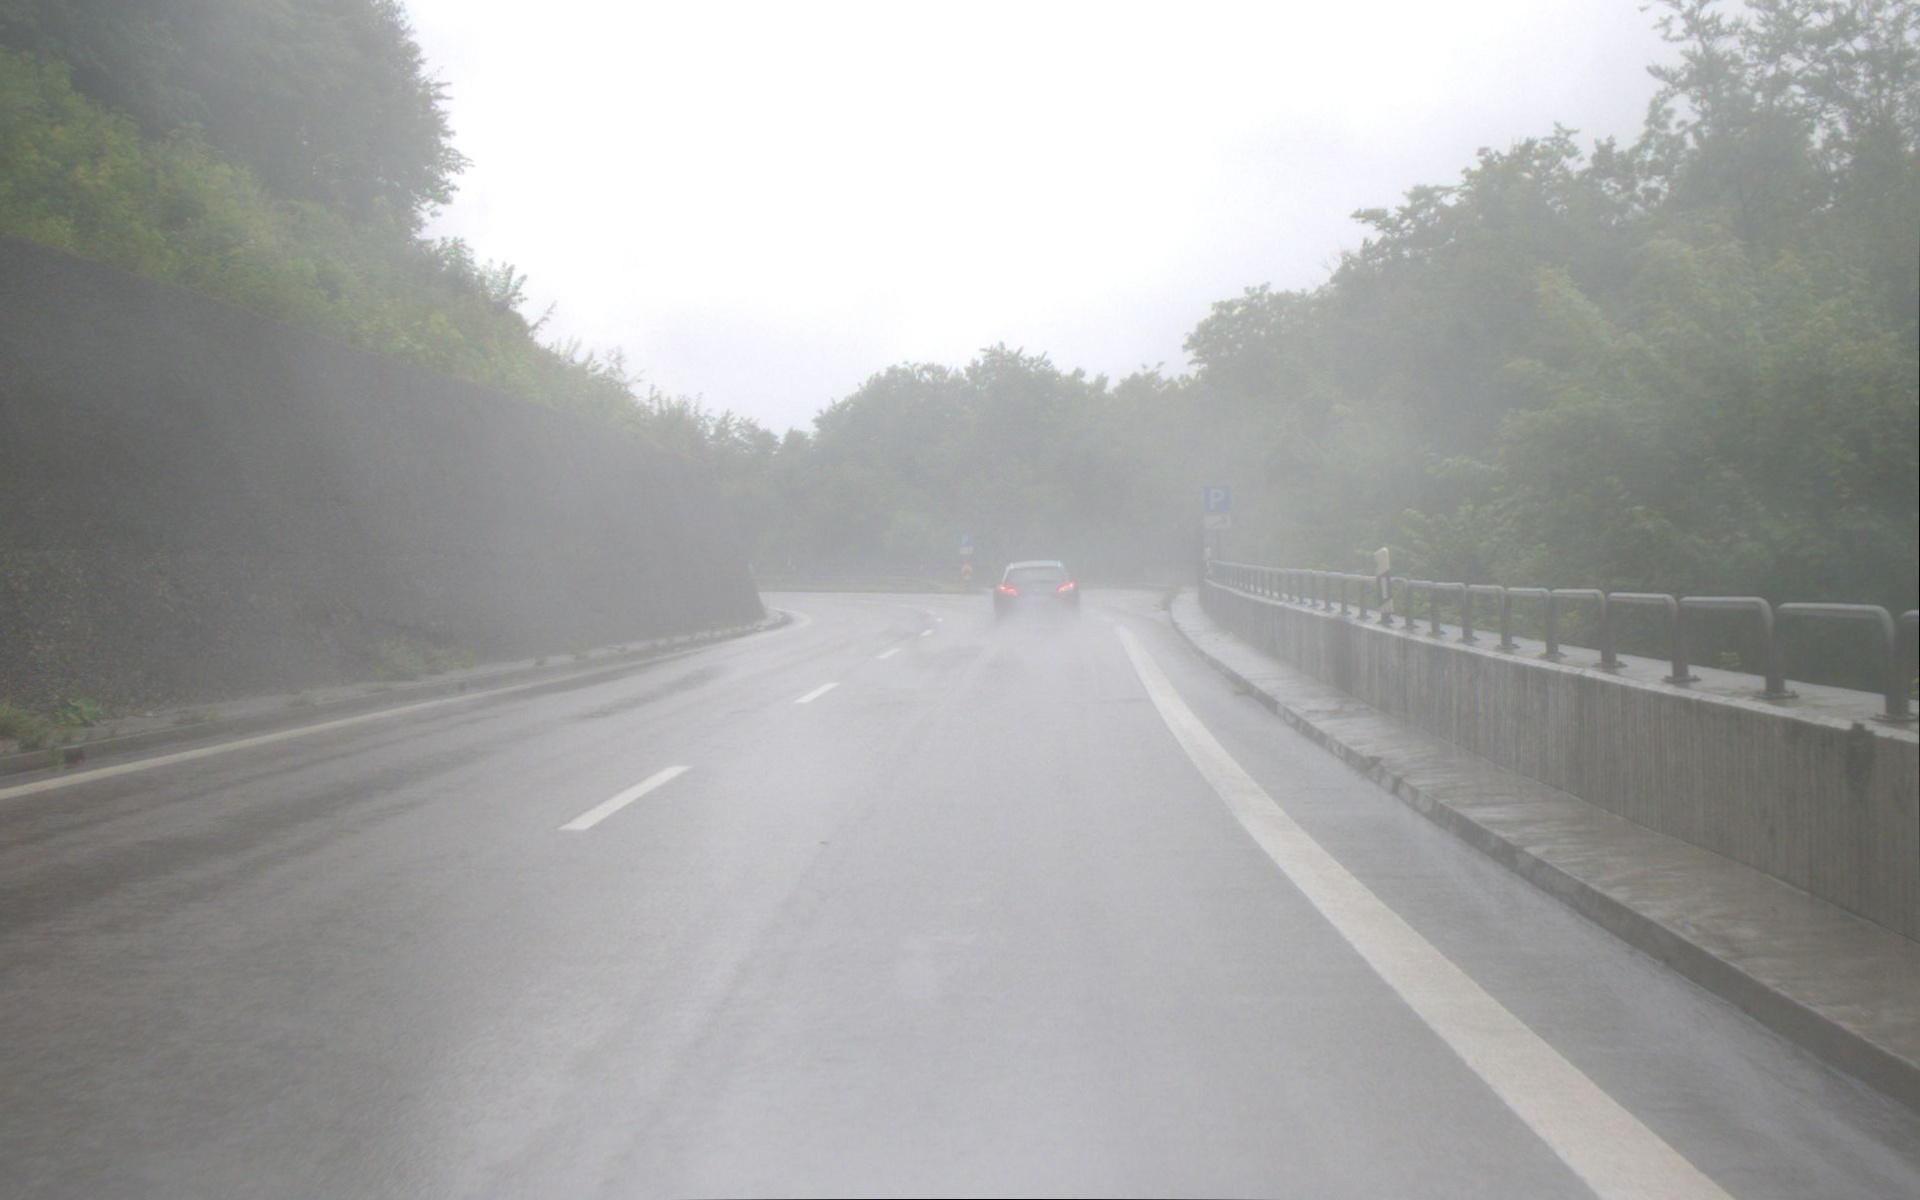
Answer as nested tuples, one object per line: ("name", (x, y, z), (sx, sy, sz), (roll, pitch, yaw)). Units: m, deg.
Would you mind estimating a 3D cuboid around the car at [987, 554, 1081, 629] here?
("car", (1.544, -0.199, 72.434), (1.904, 1.494, 4.000), (-1, 1, 1))
